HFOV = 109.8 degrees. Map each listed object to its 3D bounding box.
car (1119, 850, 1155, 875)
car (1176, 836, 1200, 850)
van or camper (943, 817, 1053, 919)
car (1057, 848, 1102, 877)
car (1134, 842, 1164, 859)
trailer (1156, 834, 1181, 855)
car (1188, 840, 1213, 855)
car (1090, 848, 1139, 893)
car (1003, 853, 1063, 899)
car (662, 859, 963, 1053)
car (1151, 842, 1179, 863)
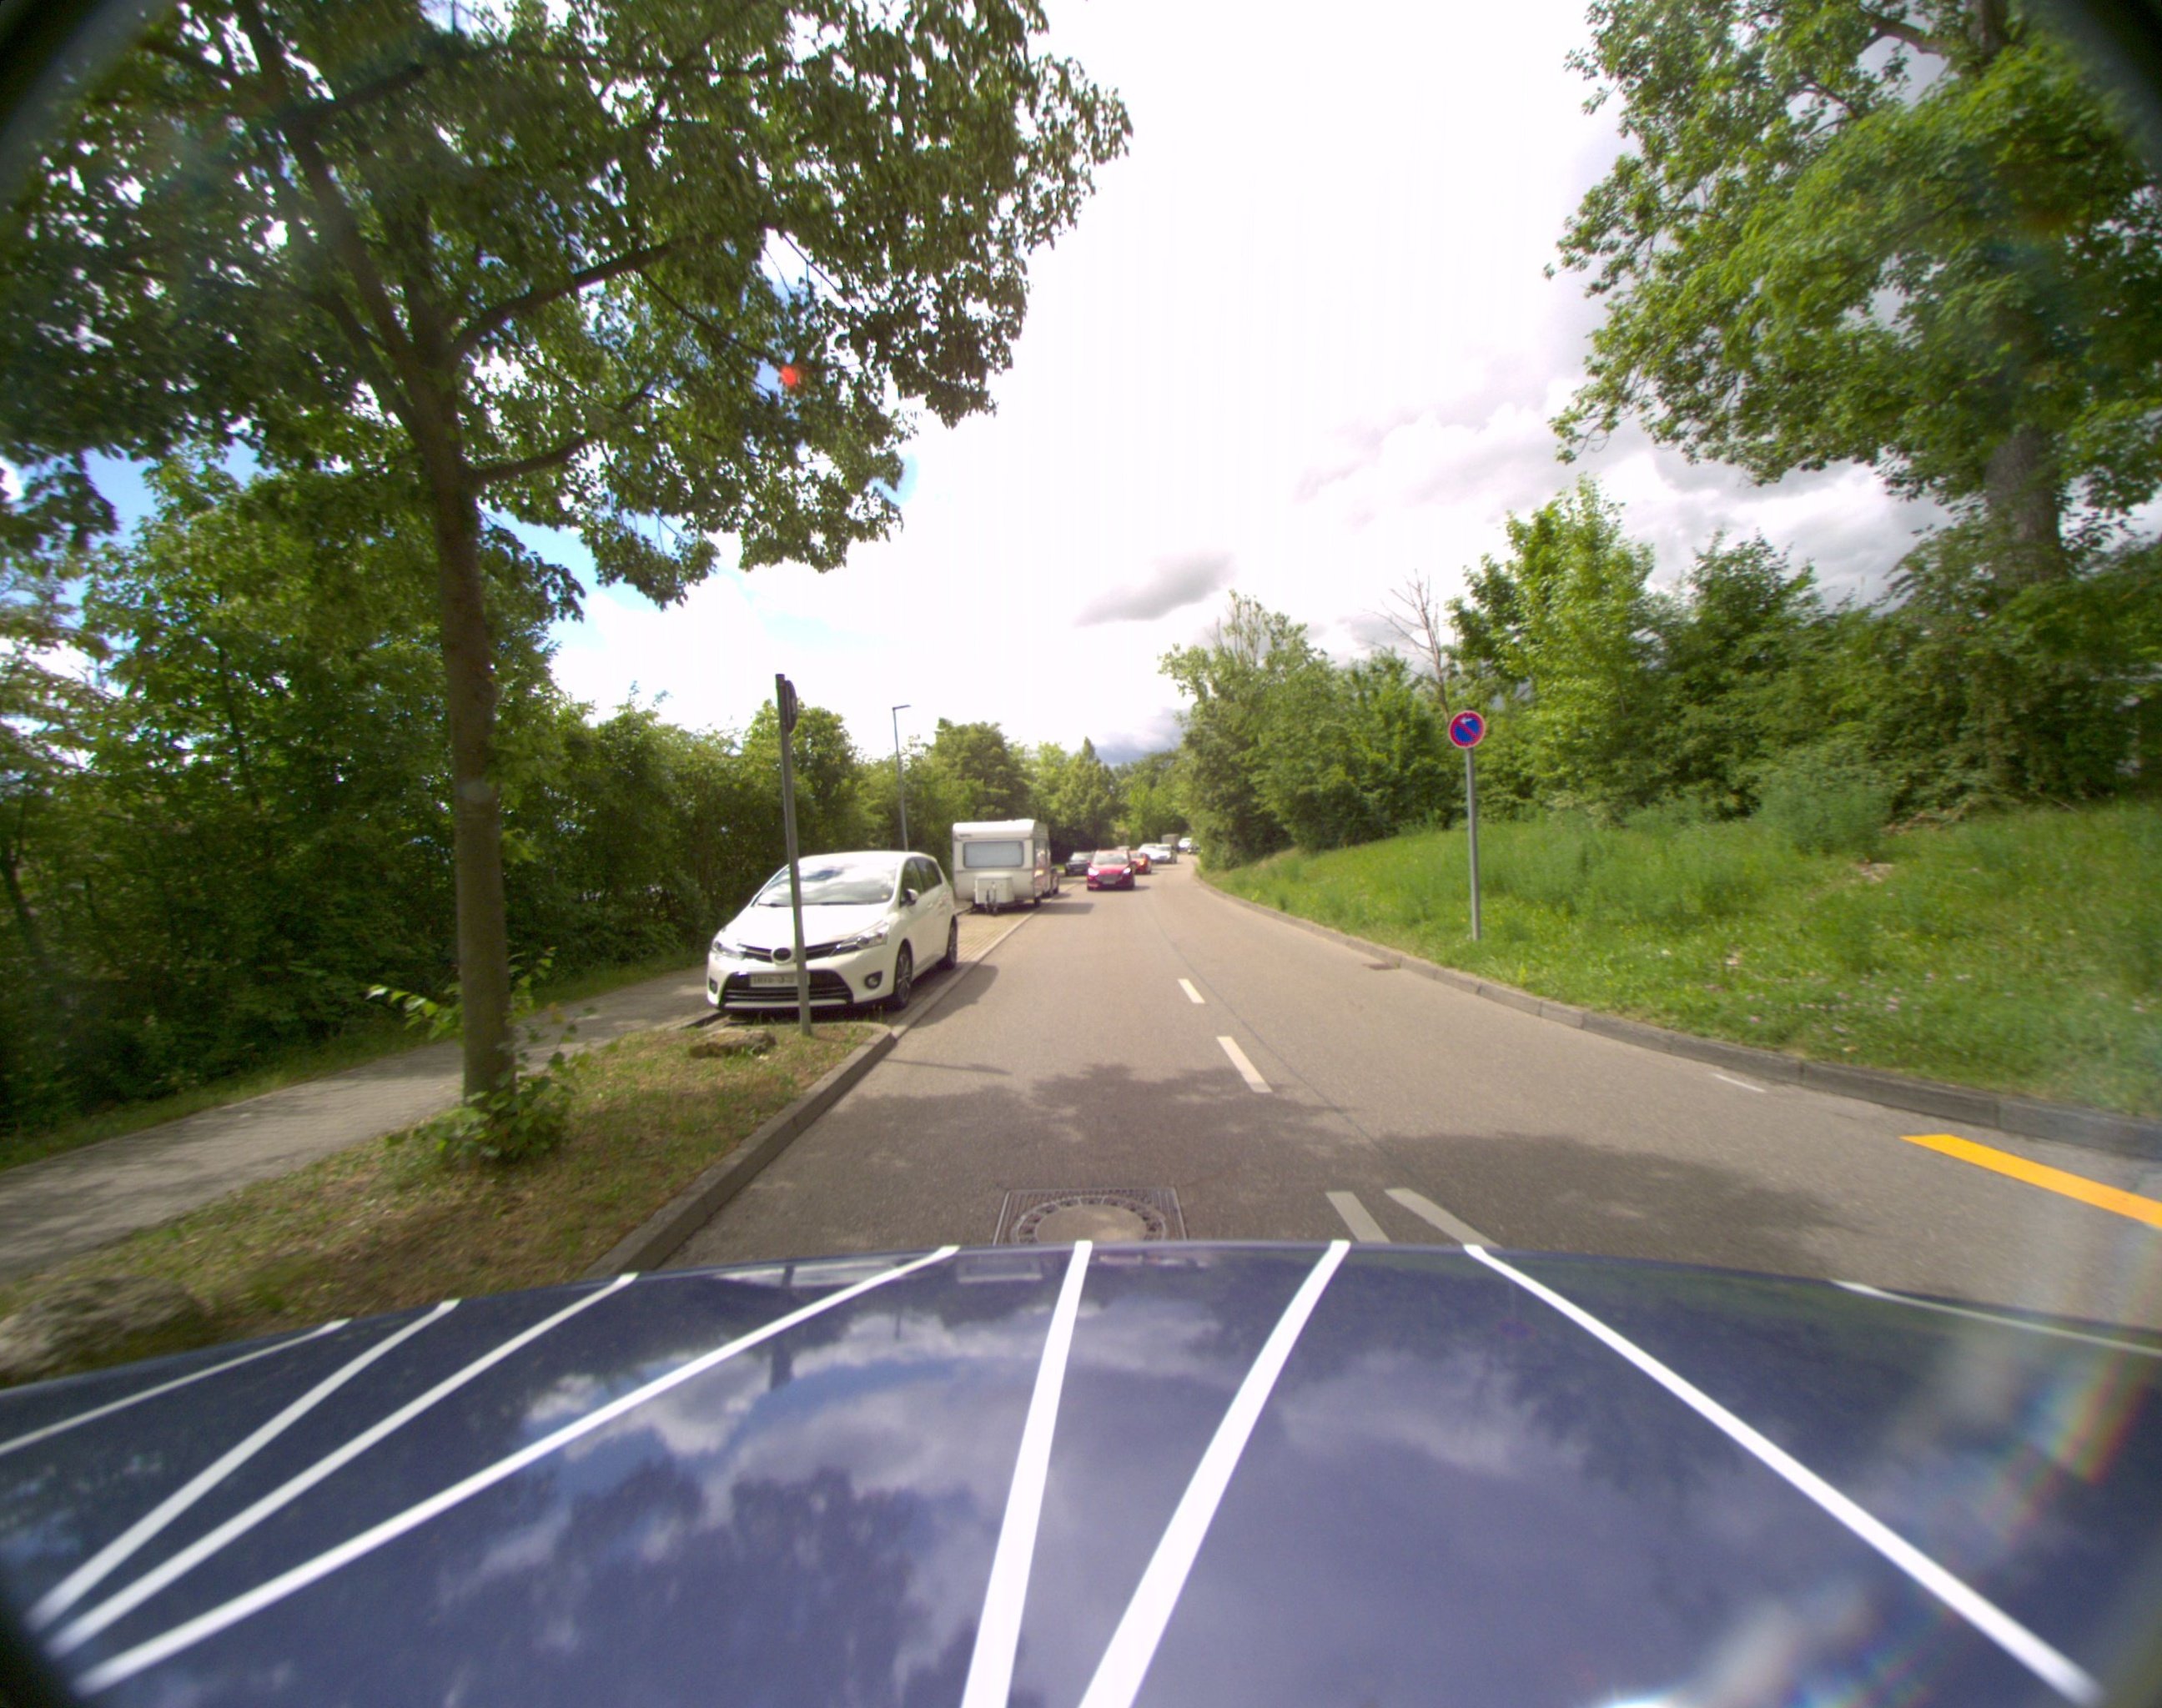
[{"bbox_3d":[3.505,0.492,47.188,1.794,1.405,4.115,-1,1,10],"label":"car"},{"bbox_3d":[12.337,-1.295,87.625,1.707,1.469,3.788,0,4,25],"label":"car"},{"bbox_3d":[-2.219,0.326,22.010,2.360,2.539,5.074,-2,1,2],"label":"van or camper"},{"bbox_3d":[-0.024,0.473,45.850,1.896,1.521,4.549,-3,0,10],"label":"car"},{"bbox_3d":[6.663,-0.333,73.936,1.865,1.469,4.906,0,2,17],"label":"car"},{"bbox_3d":[9.490,-1.030,82.326,1.732,2.067,3.787,0,3,20],"label":"trailer"},{"bbox_3d":[12.784,-0.733,81.087,1.793,1.500,4.119,1,1,22],"label":"car"},{"bbox_3d":[1.463,0.637,32.125,1.911,1.689,4.387,0,1,4],"label":"car"},{"bbox_3d":[-1.706,0.757,28.203,1.686,1.442,4.480,-3,1,2],"label":"car"},{"bbox_3d":[-2.657,0.894,8.739,1.809,1.590,4.371,-2,0,1],"label":"car"},{"bbox_3d":[7.140,-0.144,64.125,1.794,1.501,4.115,1,4,14],"label":"car"}]
